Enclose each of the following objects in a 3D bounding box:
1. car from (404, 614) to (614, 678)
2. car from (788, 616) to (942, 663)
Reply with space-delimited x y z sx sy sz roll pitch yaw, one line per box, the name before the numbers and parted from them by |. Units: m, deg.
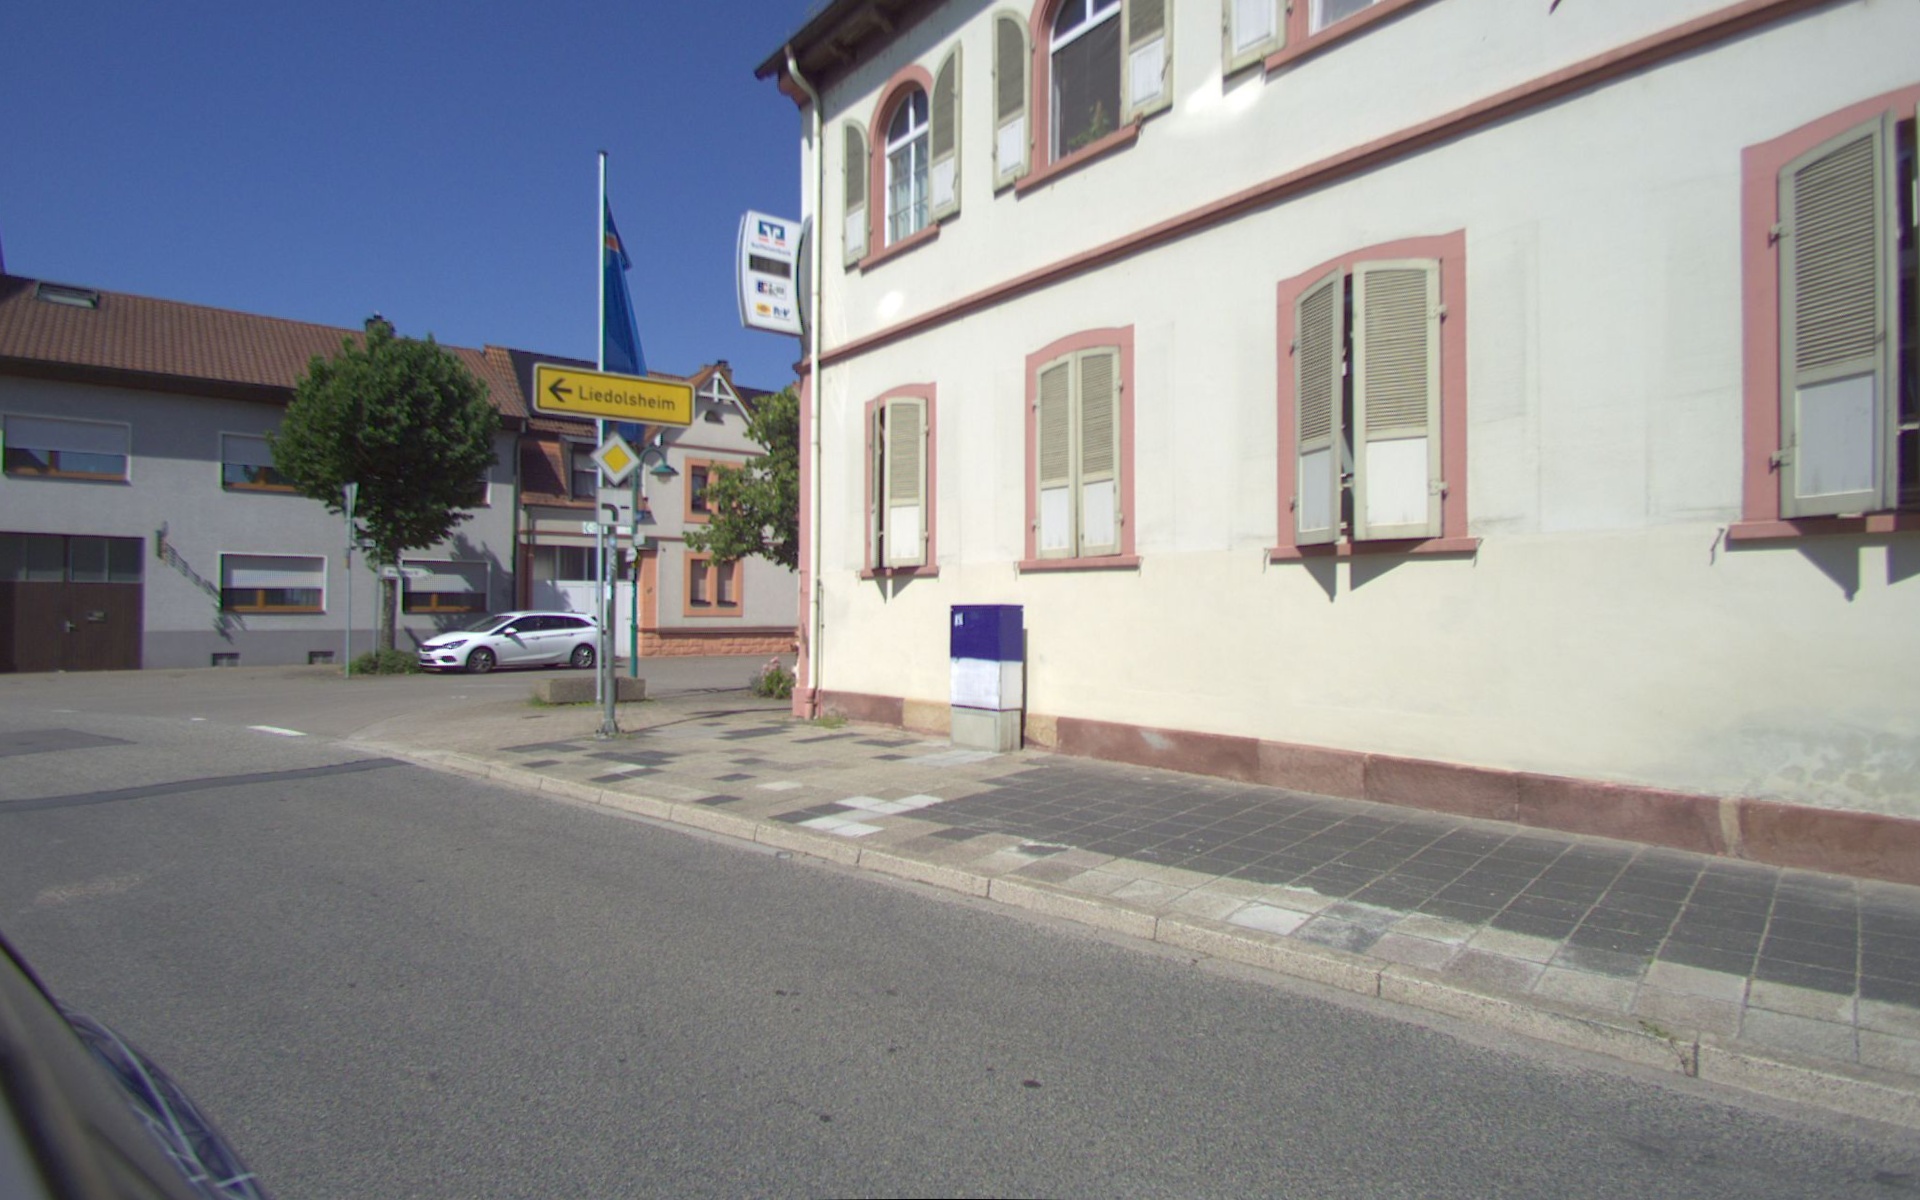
car | -11.134 1.080 25.272 1.853 1.451 4.454 -1 -1 38
car | -3.092 1.274 34.021 1.991 1.451 5.136 -1 -1 43
